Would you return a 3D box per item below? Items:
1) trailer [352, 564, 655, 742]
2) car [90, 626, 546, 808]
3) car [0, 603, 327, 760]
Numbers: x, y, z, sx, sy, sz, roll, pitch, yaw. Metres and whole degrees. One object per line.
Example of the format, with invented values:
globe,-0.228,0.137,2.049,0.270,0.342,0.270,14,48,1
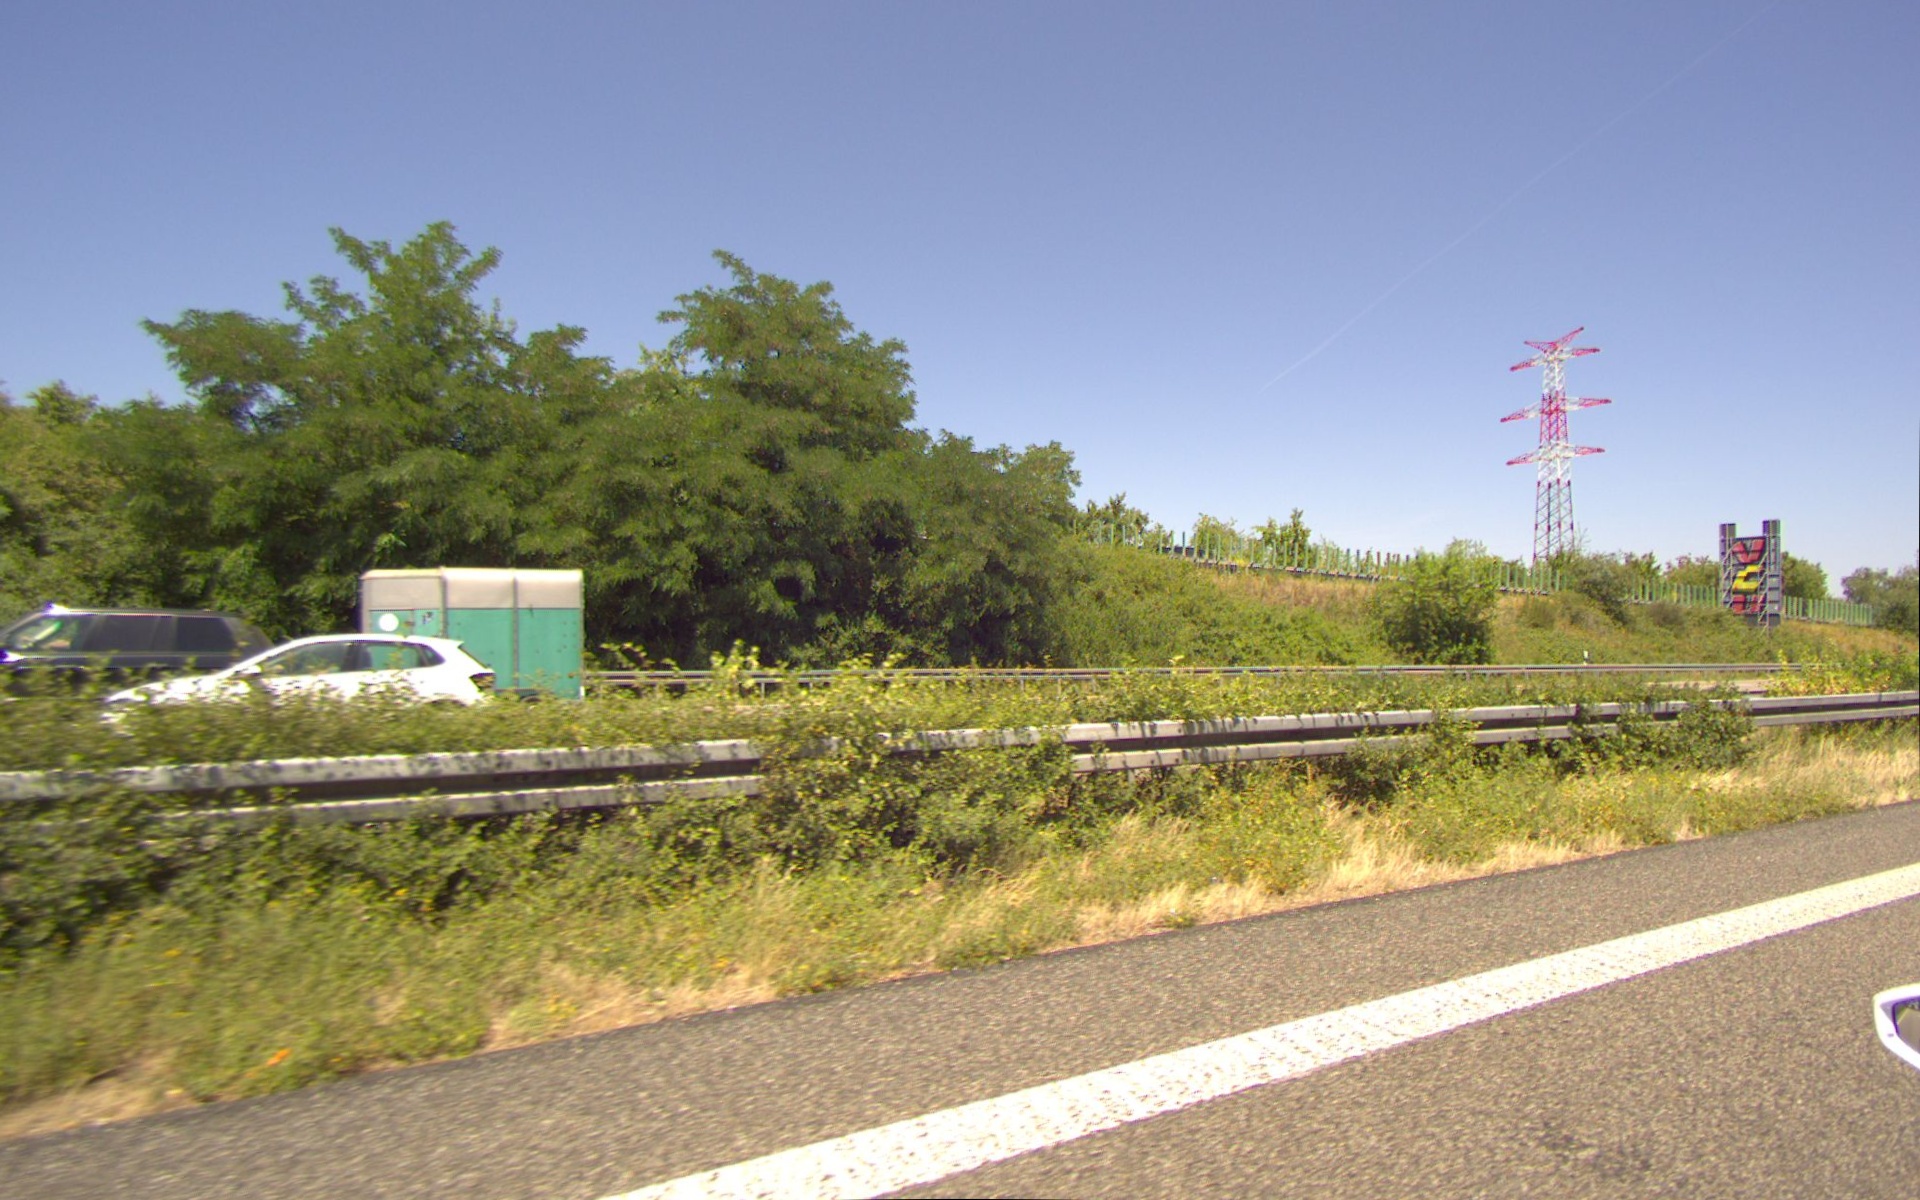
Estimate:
trailer,-7.519,0.827,16.769,4.352,2.653,1.793,1,1,-28
car,-7.398,1.264,12.093,4.305,1.789,1.775,1,1,-28
car,-11.905,1.070,14.073,4.959,1.951,1.936,1,1,-28
